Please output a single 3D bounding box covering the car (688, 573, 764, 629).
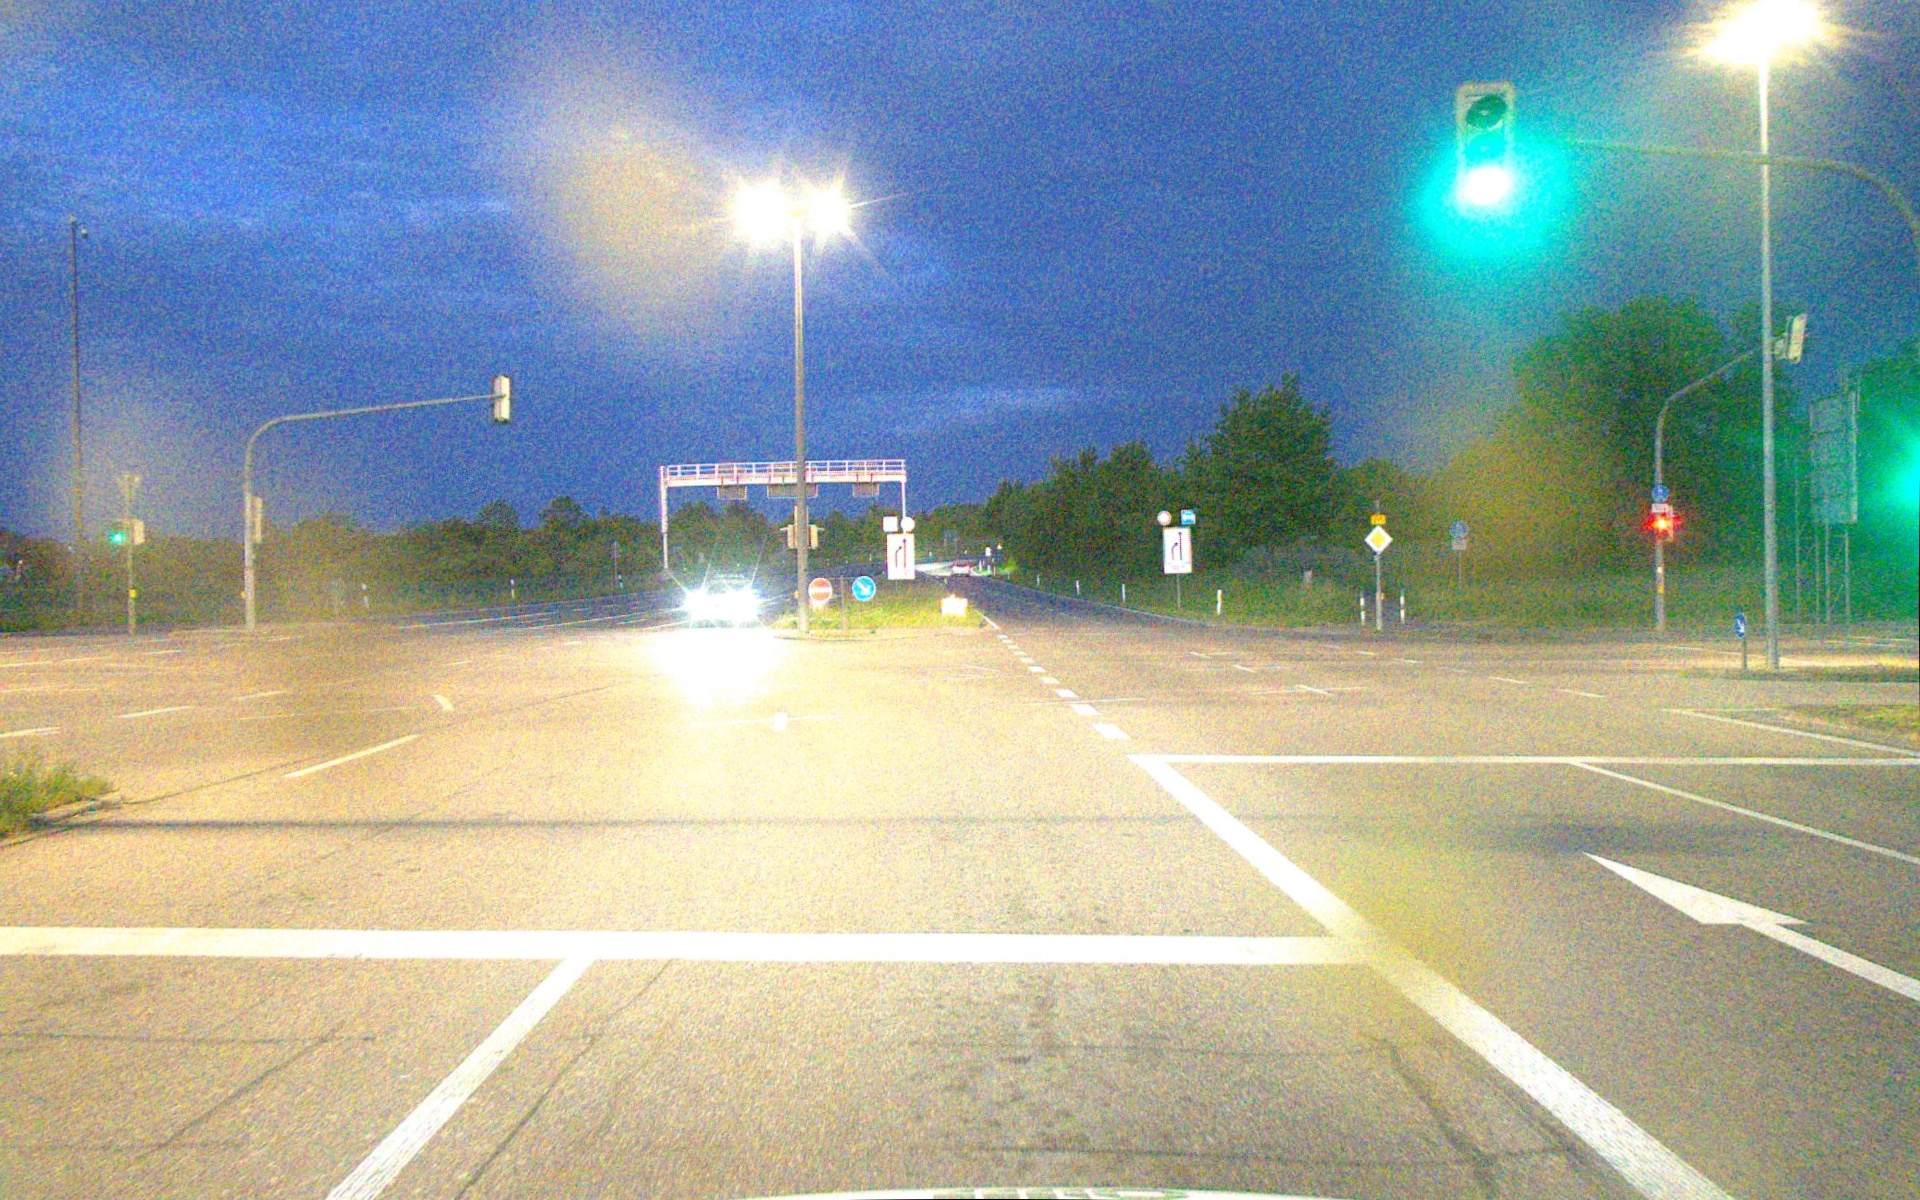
[{"bbox_3d":[-7.393,-0.003,52.575,1.953,1.728,3.999,0,1,-2],"label":"car"}]

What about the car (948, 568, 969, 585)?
[{"bbox_3d":[-0.120,-2.377,165.393,1.966,1.639,3.846,0,1,1],"label":"car"}]
